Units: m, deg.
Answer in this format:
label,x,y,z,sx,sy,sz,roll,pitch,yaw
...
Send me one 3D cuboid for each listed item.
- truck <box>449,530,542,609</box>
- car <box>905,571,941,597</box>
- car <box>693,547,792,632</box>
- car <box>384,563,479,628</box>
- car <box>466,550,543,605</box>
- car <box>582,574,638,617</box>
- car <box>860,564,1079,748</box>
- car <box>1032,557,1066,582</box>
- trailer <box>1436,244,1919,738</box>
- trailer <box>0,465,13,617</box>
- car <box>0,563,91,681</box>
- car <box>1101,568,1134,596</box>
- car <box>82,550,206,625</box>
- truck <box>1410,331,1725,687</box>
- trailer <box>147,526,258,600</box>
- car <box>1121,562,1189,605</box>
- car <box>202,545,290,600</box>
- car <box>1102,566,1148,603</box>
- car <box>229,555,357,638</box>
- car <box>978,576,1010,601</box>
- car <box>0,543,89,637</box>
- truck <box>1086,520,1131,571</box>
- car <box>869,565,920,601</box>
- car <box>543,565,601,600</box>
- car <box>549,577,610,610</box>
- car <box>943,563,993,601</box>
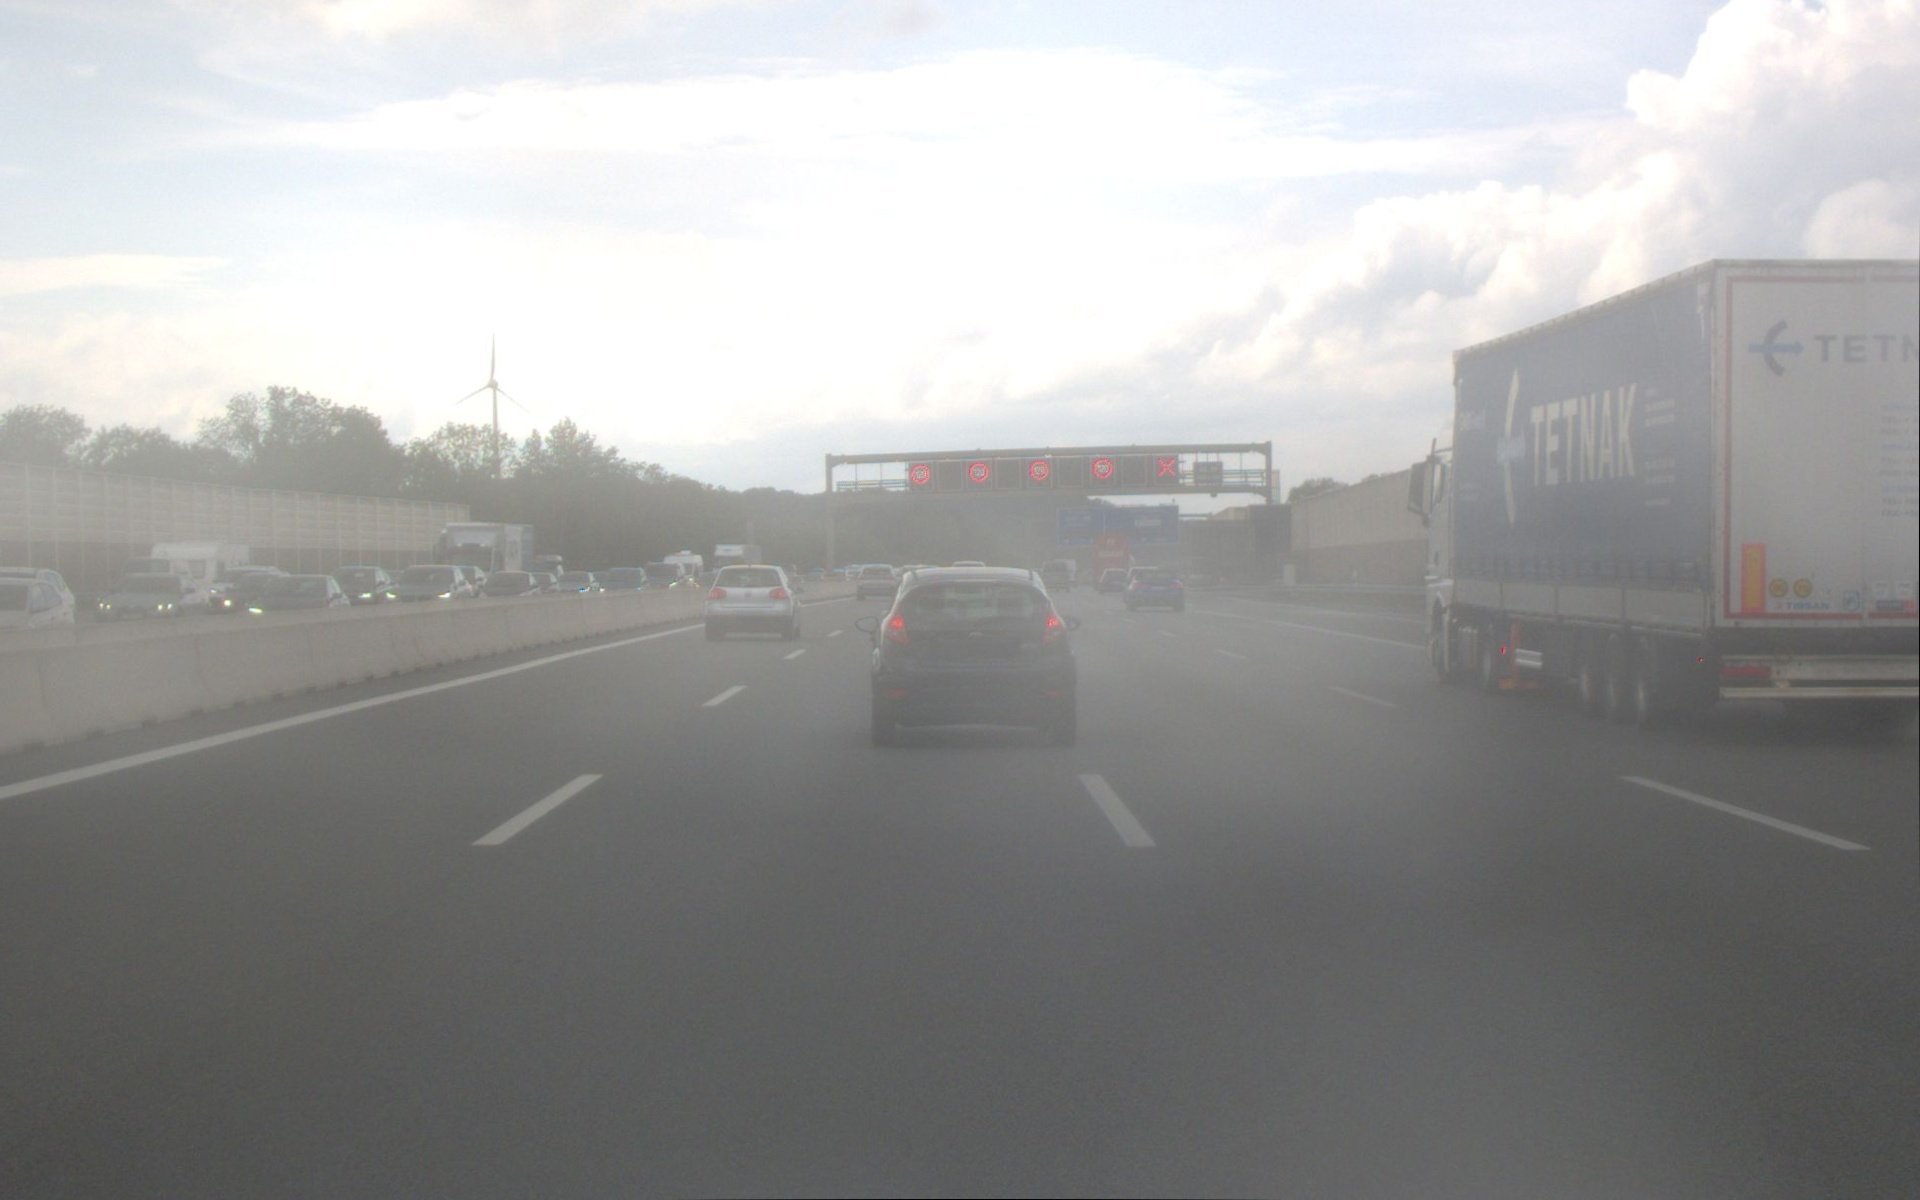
label,x,y,z,sx,sy,sz,roll,pitch,yaw
truck,-21.447,-1.438,159.211,2.696,3.515,9.995,1,1,2
car,-2.260,-0.986,213.358,1.968,1.555,4.432,-1,0,3
car,-4.296,-0.229,68.433,1.717,1.618,4.278,0,1,0
car,-14.493,-0.142,94.528,1.955,1.694,4.893,0,1,-1
car,-14.474,-0.724,109.449,1.955,1.694,4.411,0,1,-1
car,-14.210,-0.187,139.818,1.873,1.694,4.222,0,1,0
car,0.023,0.417,29.227,1.717,1.412,4.279,0,1,-1
car,5.766,-1.975,222.634,1.968,1.555,4.432,-1,0,4
trailer,7.342,-0.970,35.215,2.761,4.018,14.454,0,1,-1
trailer,-26.794,-1.497,84.739,2.761,4.018,14.453,0,1,1
car,-14.790,0.308,52.383,2.061,1.694,4.411,0,1,-1
car,9.061,-1.013,197.997,1.883,1.555,4.432,-1,0,3
car,-19.106,-0.321,80.688,1.955,1.694,4.411,0,1,-1
truck,7.244,-1.061,41.717,2.744,4.021,5.726,0,1,-1
trailer,-26.433,-1.310,120.162,2.459,2.487,6.085,0,1,1
car,6.508,-0.545,115.184,1.949,1.413,4.232,-1,0,-1
car,-22.429,-0.880,108.131,1.955,1.694,4.411,0,1,-1
car,7.118,-0.654,148.500,1.882,1.537,4.432,-1,0,2
car,-15.084,-0.111,78.001,2.061,1.810,4.779,0,1,-1
car,2.172,-0.725,218.850,1.968,1.555,4.433,-1,0,1
car,-19.054,-0.222,68.923,2.061,1.810,4.779,0,1,-1
truck,10.791,-3.933,249.463,3.153,3.589,12.698,1,1,2
car,-2.926,-0.764,154.148,1.968,1.555,4.432,-1,0,3
car,-18.115,-0.811,160.729,2.060,1.594,4.997,0,0,0
car,-17.783,-0.318,160.921,2.060,1.486,4.997,0,0,2
car,0.382,-0.769,149.940,1.968,1.555,4.432,-1,0,3
